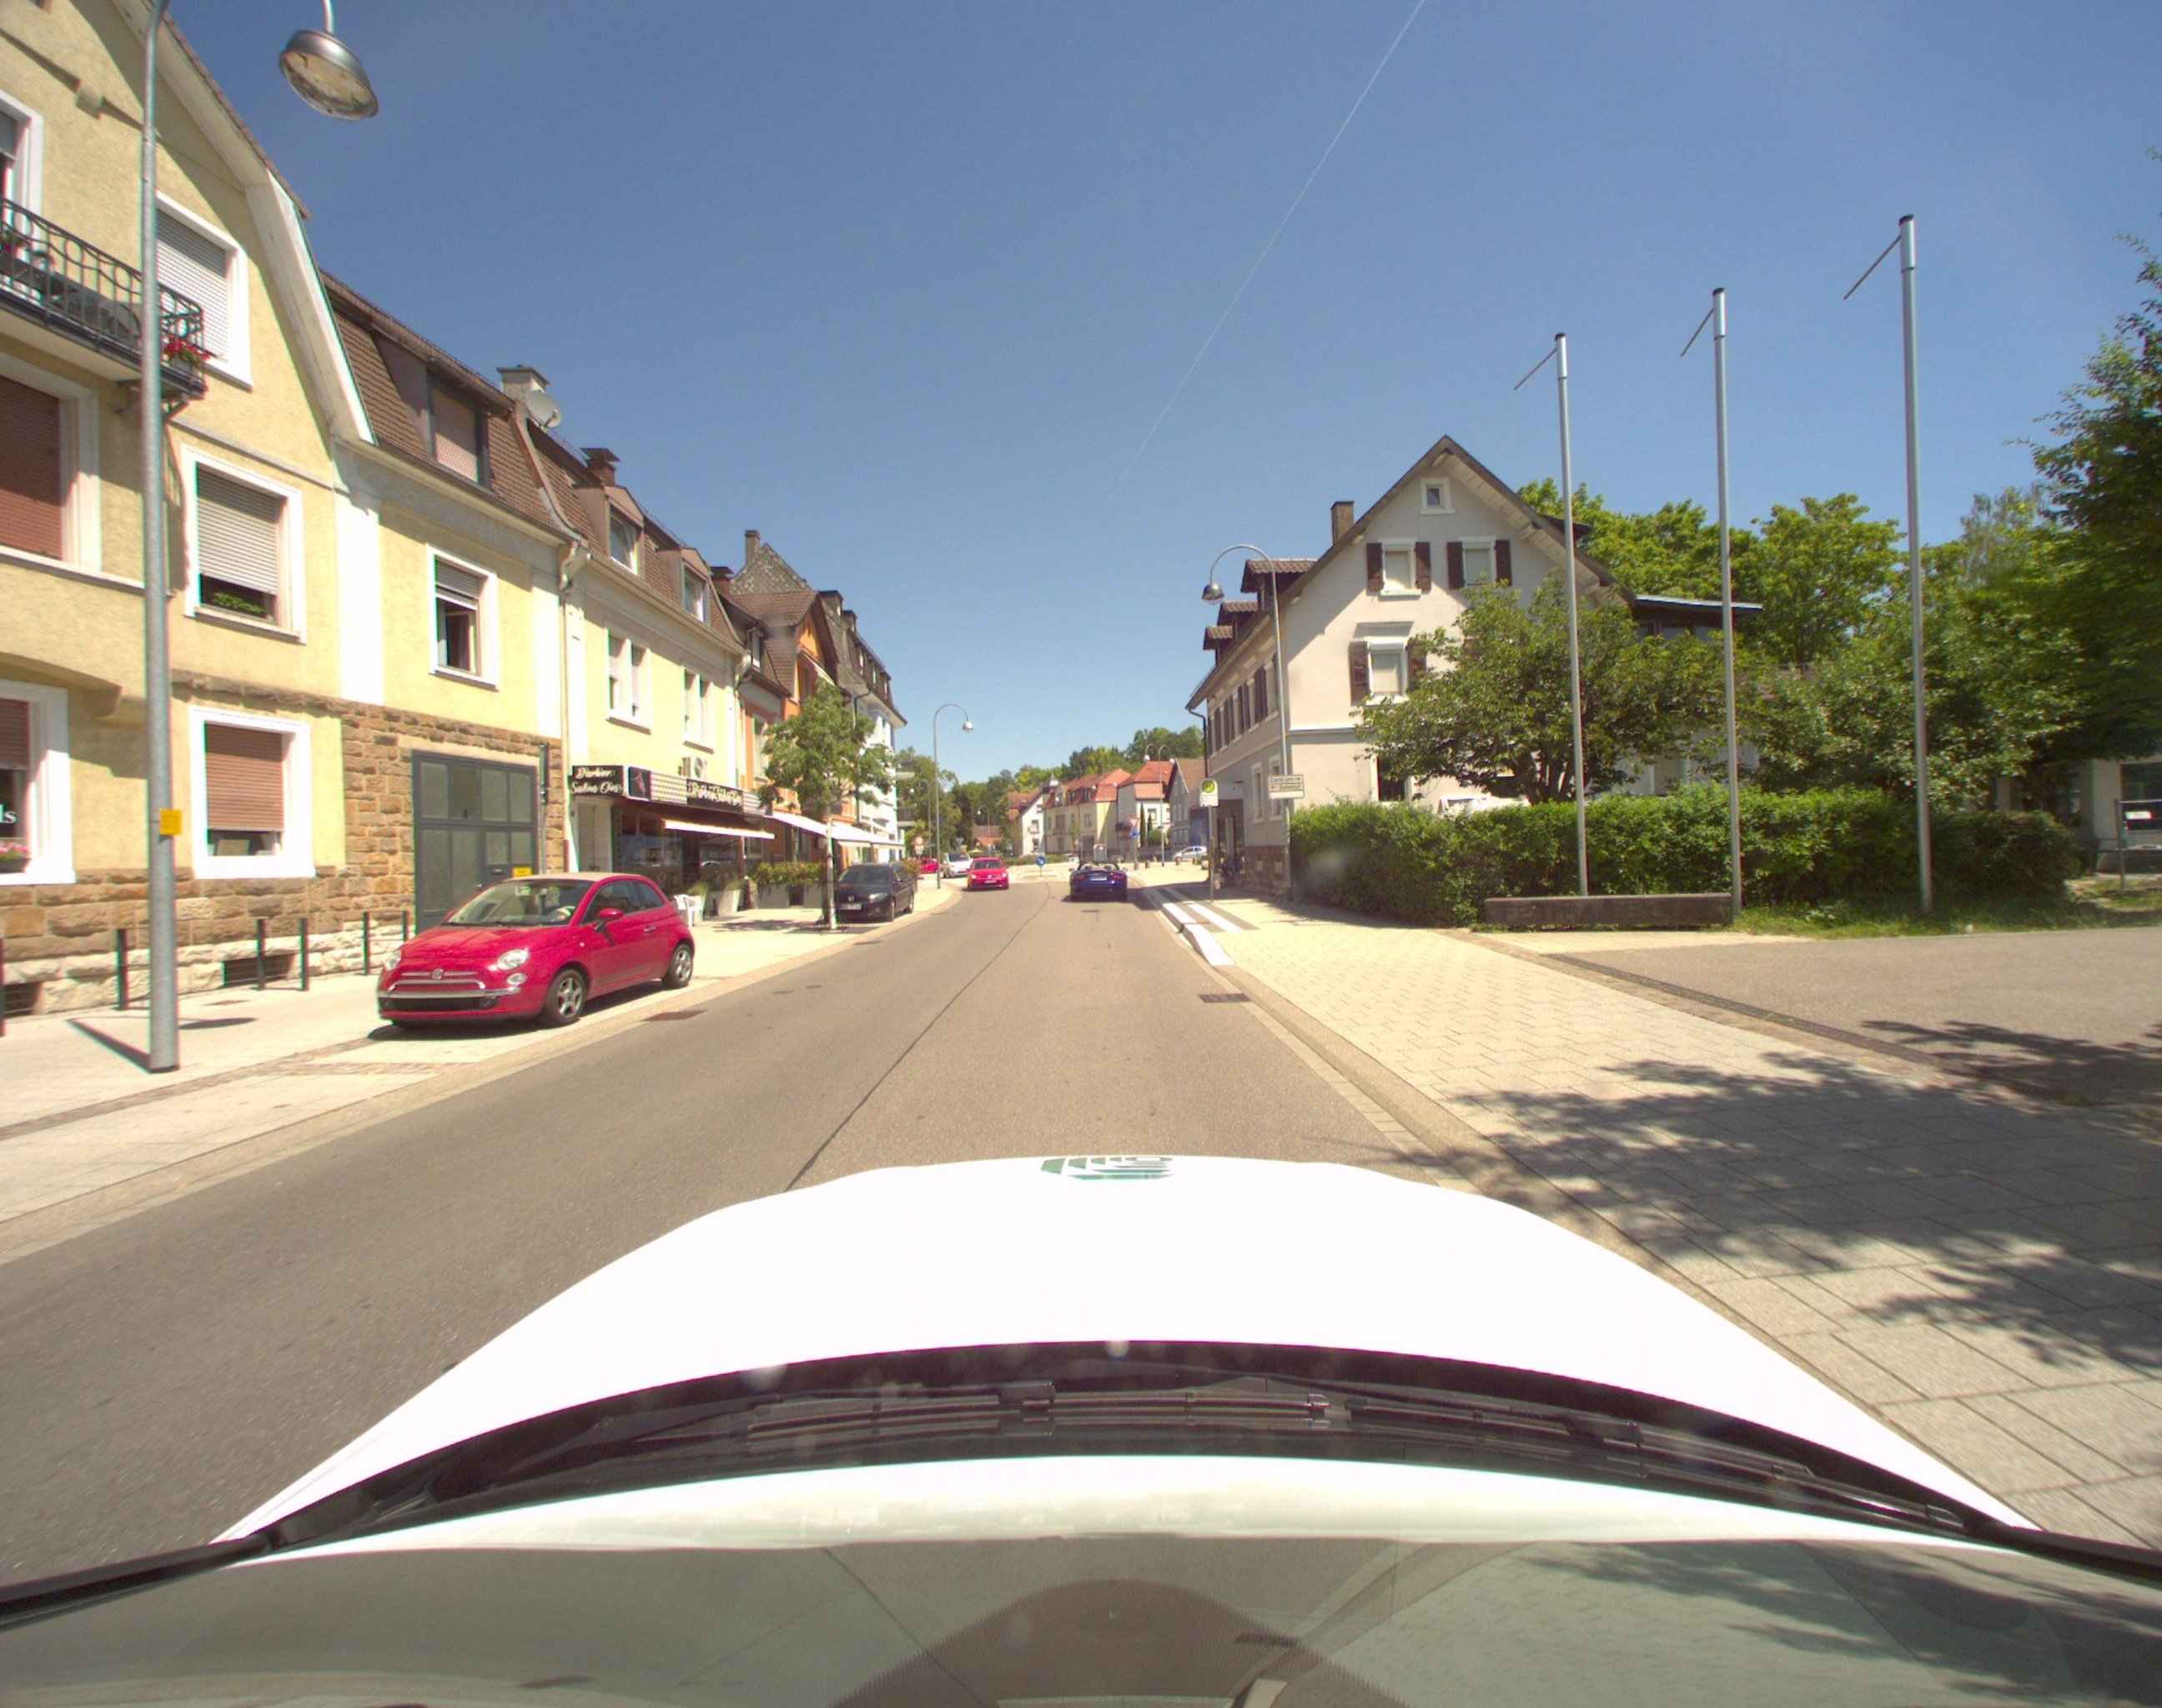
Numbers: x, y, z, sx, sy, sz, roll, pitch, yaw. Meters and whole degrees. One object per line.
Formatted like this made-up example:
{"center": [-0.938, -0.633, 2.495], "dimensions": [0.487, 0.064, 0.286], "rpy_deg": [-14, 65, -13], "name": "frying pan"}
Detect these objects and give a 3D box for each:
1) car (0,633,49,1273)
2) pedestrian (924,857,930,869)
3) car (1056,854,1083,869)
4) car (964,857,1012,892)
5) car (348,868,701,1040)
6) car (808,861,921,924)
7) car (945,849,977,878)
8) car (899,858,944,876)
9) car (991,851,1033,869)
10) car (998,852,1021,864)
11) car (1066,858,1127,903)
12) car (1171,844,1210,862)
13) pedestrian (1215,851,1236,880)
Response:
{"center": [-5.359, 0.384, 0.586], "dimensions": [2.084, 2.498, 5.506], "rpy_deg": [0, 0, 2], "name": "car"}
{"center": [-20.361, 1.180, 107.722], "dimensions": [0.531, 1.576, 0.564], "rpy_deg": [-2, 0, 10], "name": "pedestrian"}
{"center": [-1.404, 0.933, 96.867], "dimensions": [1.925, 1.613, 4.119], "rpy_deg": [-2, -1, -20], "name": "car"}
{"center": [-4.275, 0.895, 37.962], "dimensions": [1.911, 1.426, 3.975], "rpy_deg": [-4, 0, -4], "name": "car"}
{"center": [-5.826, 0.926, 9.091], "dimensions": [1.555, 1.521, 3.513], "rpy_deg": [-1, -1, -1], "name": "car"}
{"center": [-5.712, 0.952, 22.054], "dimensions": [1.909, 1.481, 4.335], "rpy_deg": [1, 0, -1], "name": "car"}
{"center": [-8.384, 0.673, 56.751], "dimensions": [1.993, 1.822, 4.401], "rpy_deg": [-3, 0, -9], "name": "car"}
{"center": [-14.280, 1.169, 72.965], "dimensions": [3.754, 1.332, 1.803], "rpy_deg": [-3, 0, -18], "name": "car"}
{"center": [-5.731, 0.524, 67.571], "dimensions": [2.005, 1.329, 4.163], "rpy_deg": [-3, 0, -27], "name": "car"}
{"center": [-10.950, 0.657, 123.894], "dimensions": [1.862, 1.588, 3.961], "rpy_deg": [-3, 0, -31], "name": "car"}
{"center": [0.546, 0.854, 27.889], "dimensions": [1.904, 1.360, 4.286], "rpy_deg": [-1, 0, 1], "name": "car"}
{"center": [10.044, -0.097, 75.004], "dimensions": [3.443, 1.450, 1.582], "rpy_deg": [-3, 0, 4], "name": "car"}
{"center": [5.219, 0.424, 29.417], "dimensions": [0.588, 0.999, 0.723], "rpy_deg": [-3, 0, -2], "name": "pedestrian"}
